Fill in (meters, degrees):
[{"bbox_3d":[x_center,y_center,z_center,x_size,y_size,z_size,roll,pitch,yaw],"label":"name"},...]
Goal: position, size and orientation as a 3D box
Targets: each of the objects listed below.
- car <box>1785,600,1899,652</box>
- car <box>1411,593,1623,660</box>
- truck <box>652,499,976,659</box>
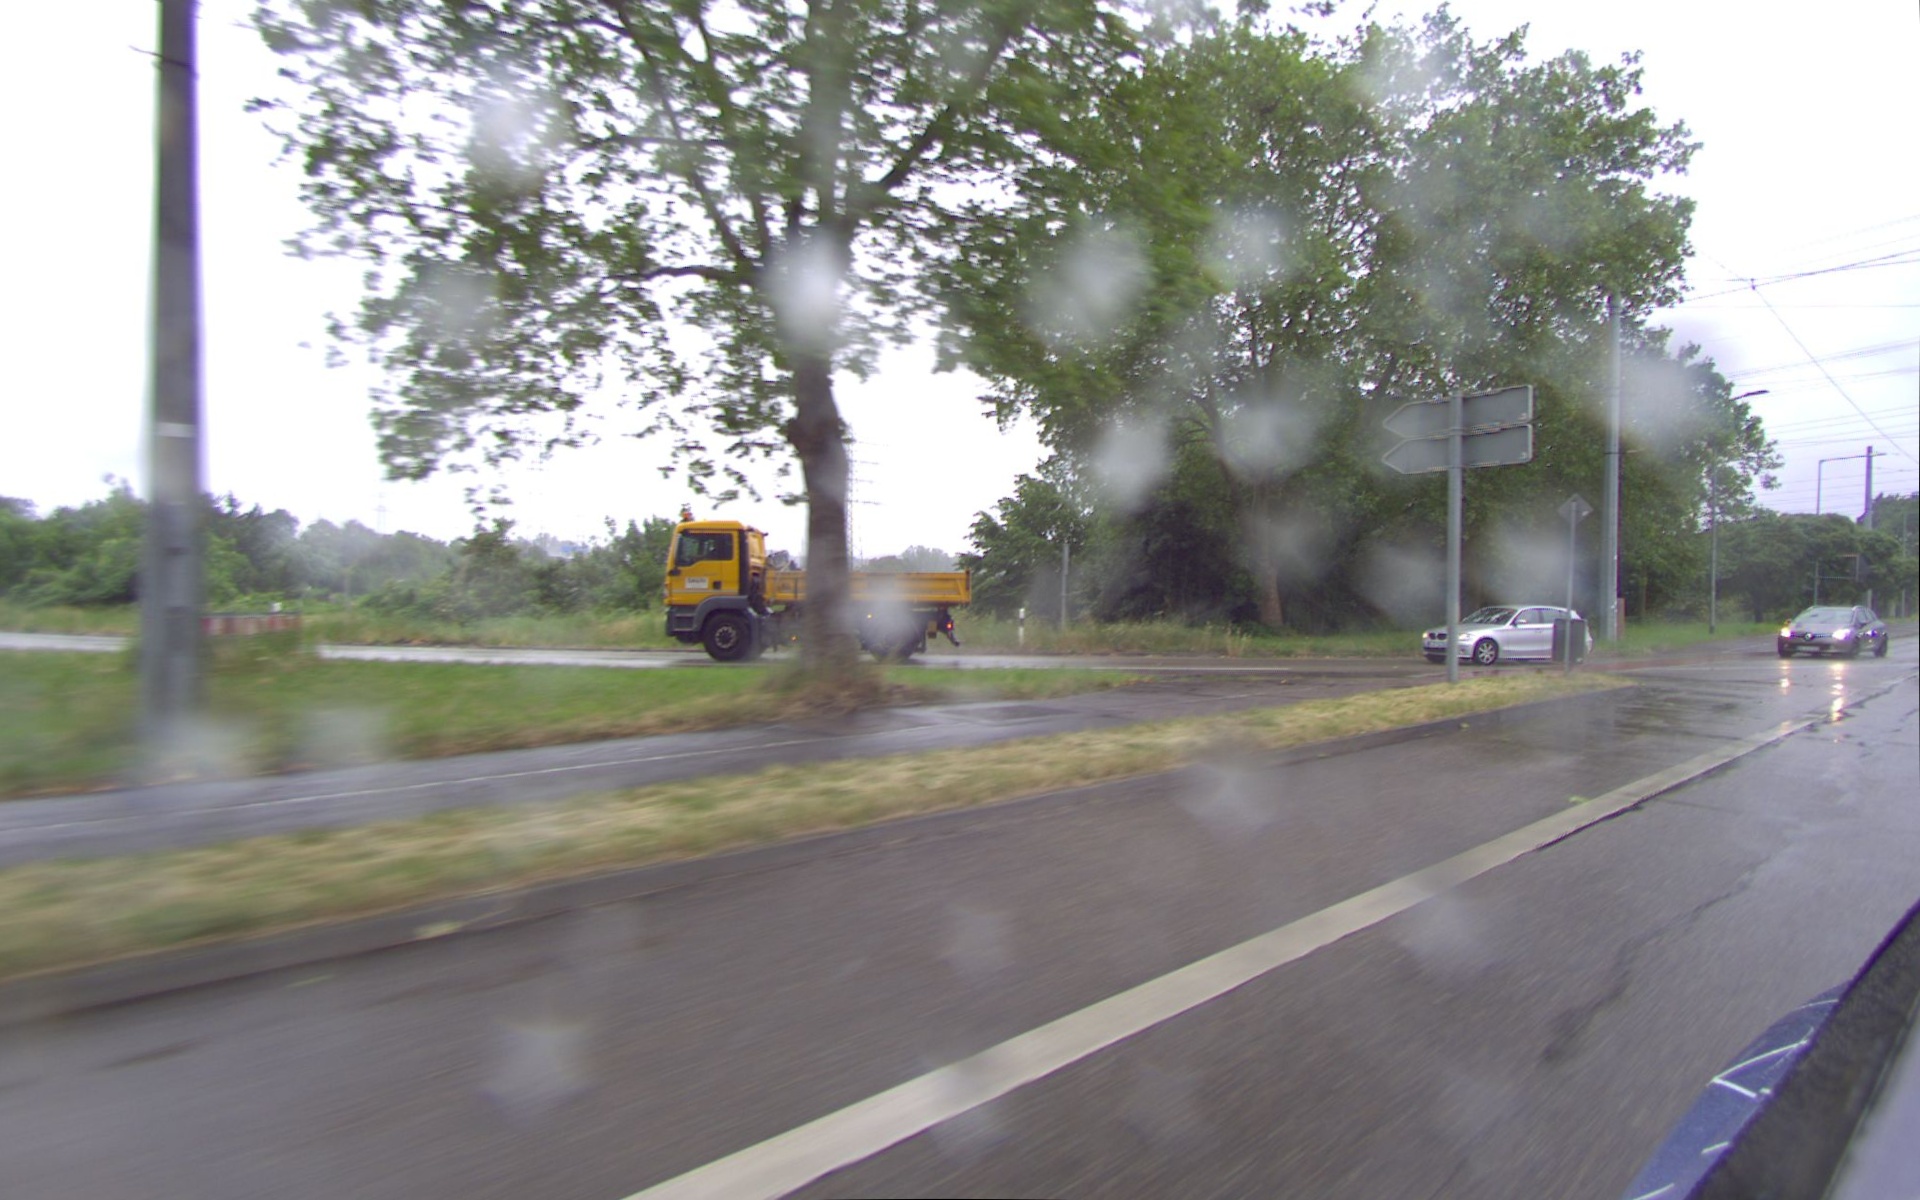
[{"bbox_3d":[25.417,0.731,29.131,4.201,1.374,1.891,1,-1,-41],"label":"car"},{"bbox_3d":[13.287,0.637,24.184,4.509,1.522,1.635,1,-1,-14],"label":"car"},{"bbox_3d":[-3.063,-0.438,22.543,6.803,3.299,2.563,1,-1,1],"label":"truck"}]
